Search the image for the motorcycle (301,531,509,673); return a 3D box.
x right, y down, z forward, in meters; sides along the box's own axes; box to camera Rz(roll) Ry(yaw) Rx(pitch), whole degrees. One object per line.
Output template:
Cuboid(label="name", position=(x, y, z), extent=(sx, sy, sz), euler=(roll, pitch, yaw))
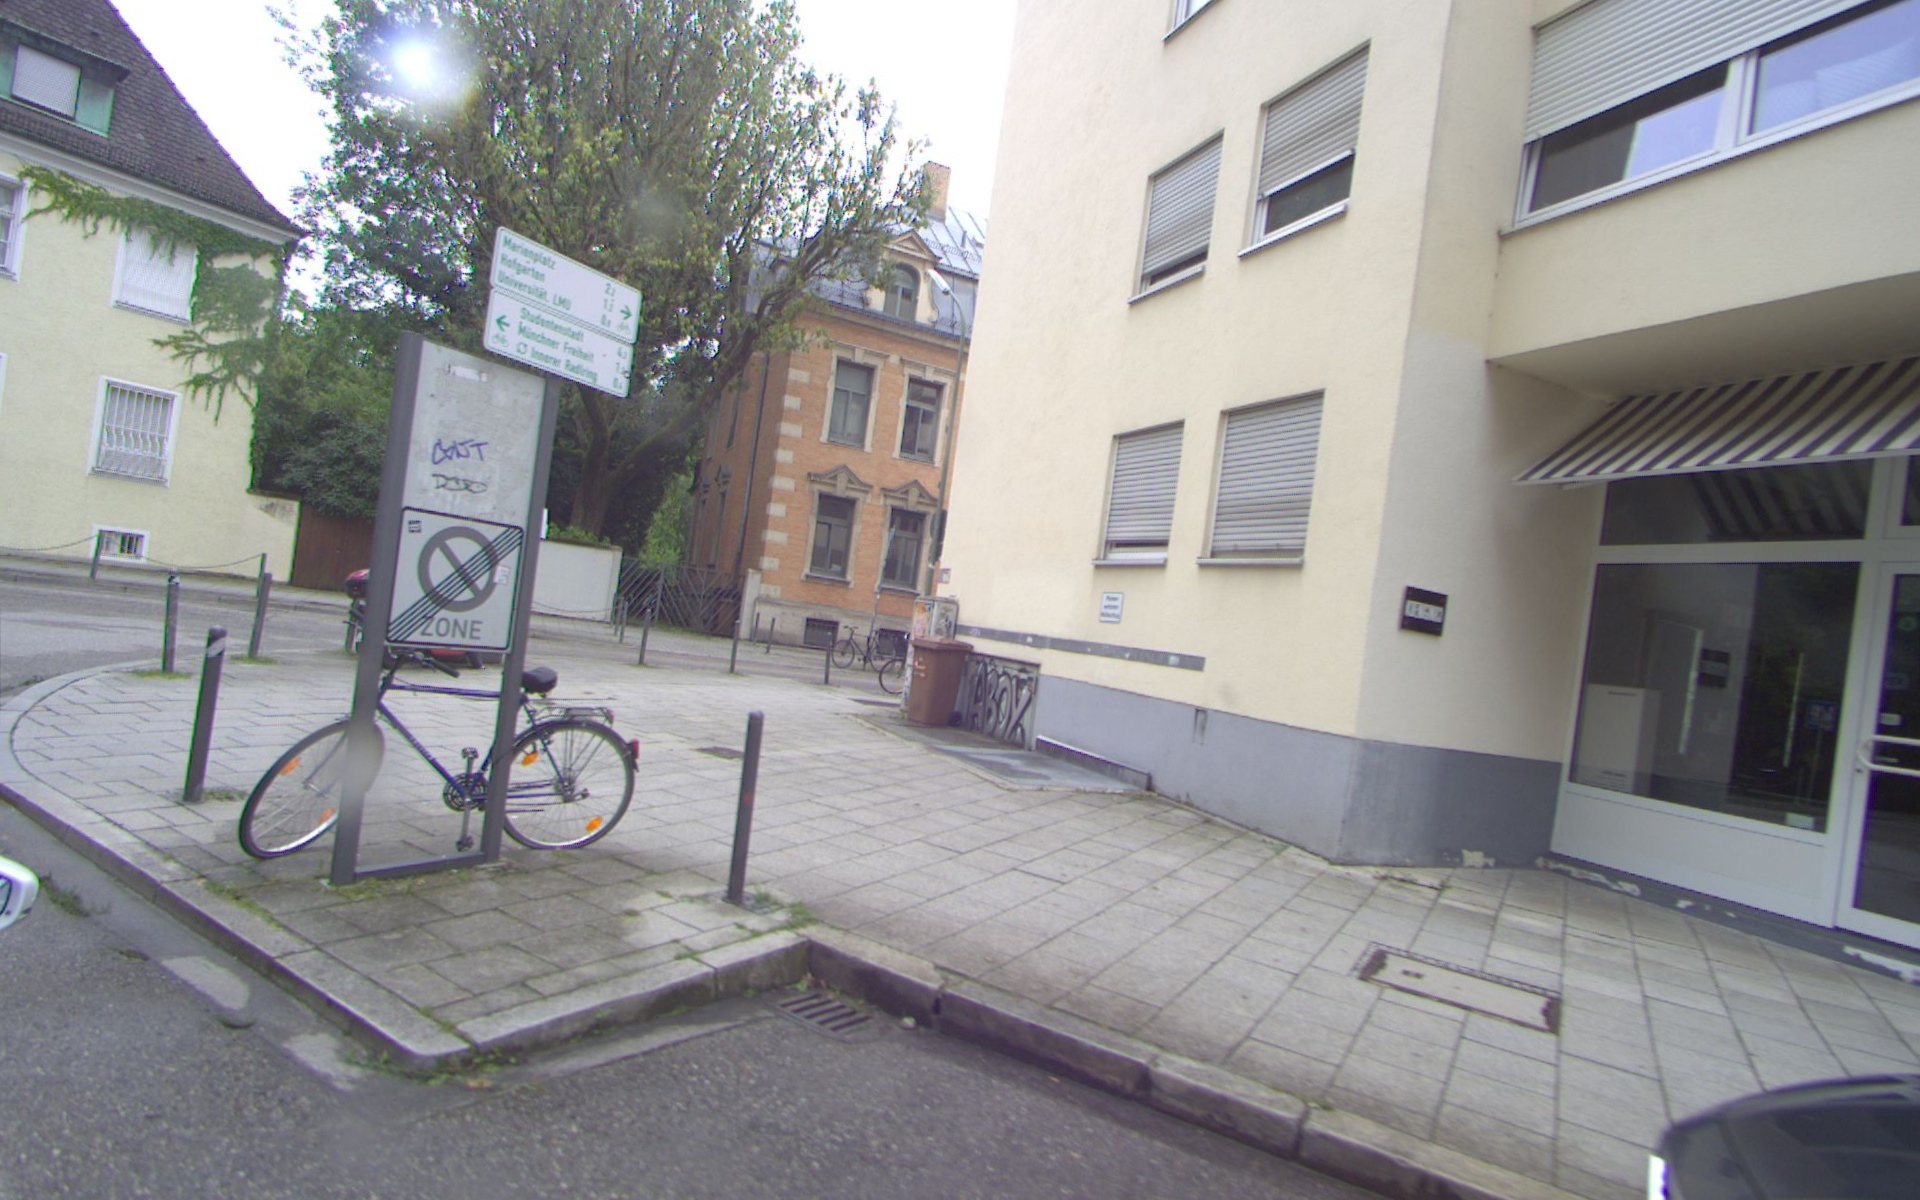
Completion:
Cuboid(label="motorcycle", position=(-6.187, 0.081, 11.397), extent=(0.801, 1.371, 2.087), euler=(8, -2, 9))

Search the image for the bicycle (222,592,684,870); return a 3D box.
Cuboid(label="bicycle", position=(-2.363, 0.641, 4.852), extent=(1.779, 1.099, 0.660), euler=(8, 1, -31))

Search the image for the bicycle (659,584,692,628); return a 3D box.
Cuboid(label="bicycle", position=(-8.828, 0.166, 31.168), extent=(0.529, 1.233, 2.071), euler=(8, -2, -24))

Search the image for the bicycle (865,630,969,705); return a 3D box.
Cuboid(label="bicycle", position=(-0.791, 1.204, 18.058), extent=(1.740, 1.078, 0.772), euler=(6, -2, 44))

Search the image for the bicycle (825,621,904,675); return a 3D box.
Cuboid(label="bicycle", position=(-2.340, 1.177, 24.642), extent=(1.739, 1.066, 0.579), euler=(9, -1, -20))

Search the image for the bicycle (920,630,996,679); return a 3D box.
Cuboid(label="bicycle", position=(-0.057, 1.503, 27.647), extent=(1.869, 1.066, 0.579), euler=(9, 0, -20))

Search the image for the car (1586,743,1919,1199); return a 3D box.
Cuboid(label="car", position=(3.243, 1.263, 0.775), extent=(4.533, 1.488, 1.697), euler=(7, -2, 30))
